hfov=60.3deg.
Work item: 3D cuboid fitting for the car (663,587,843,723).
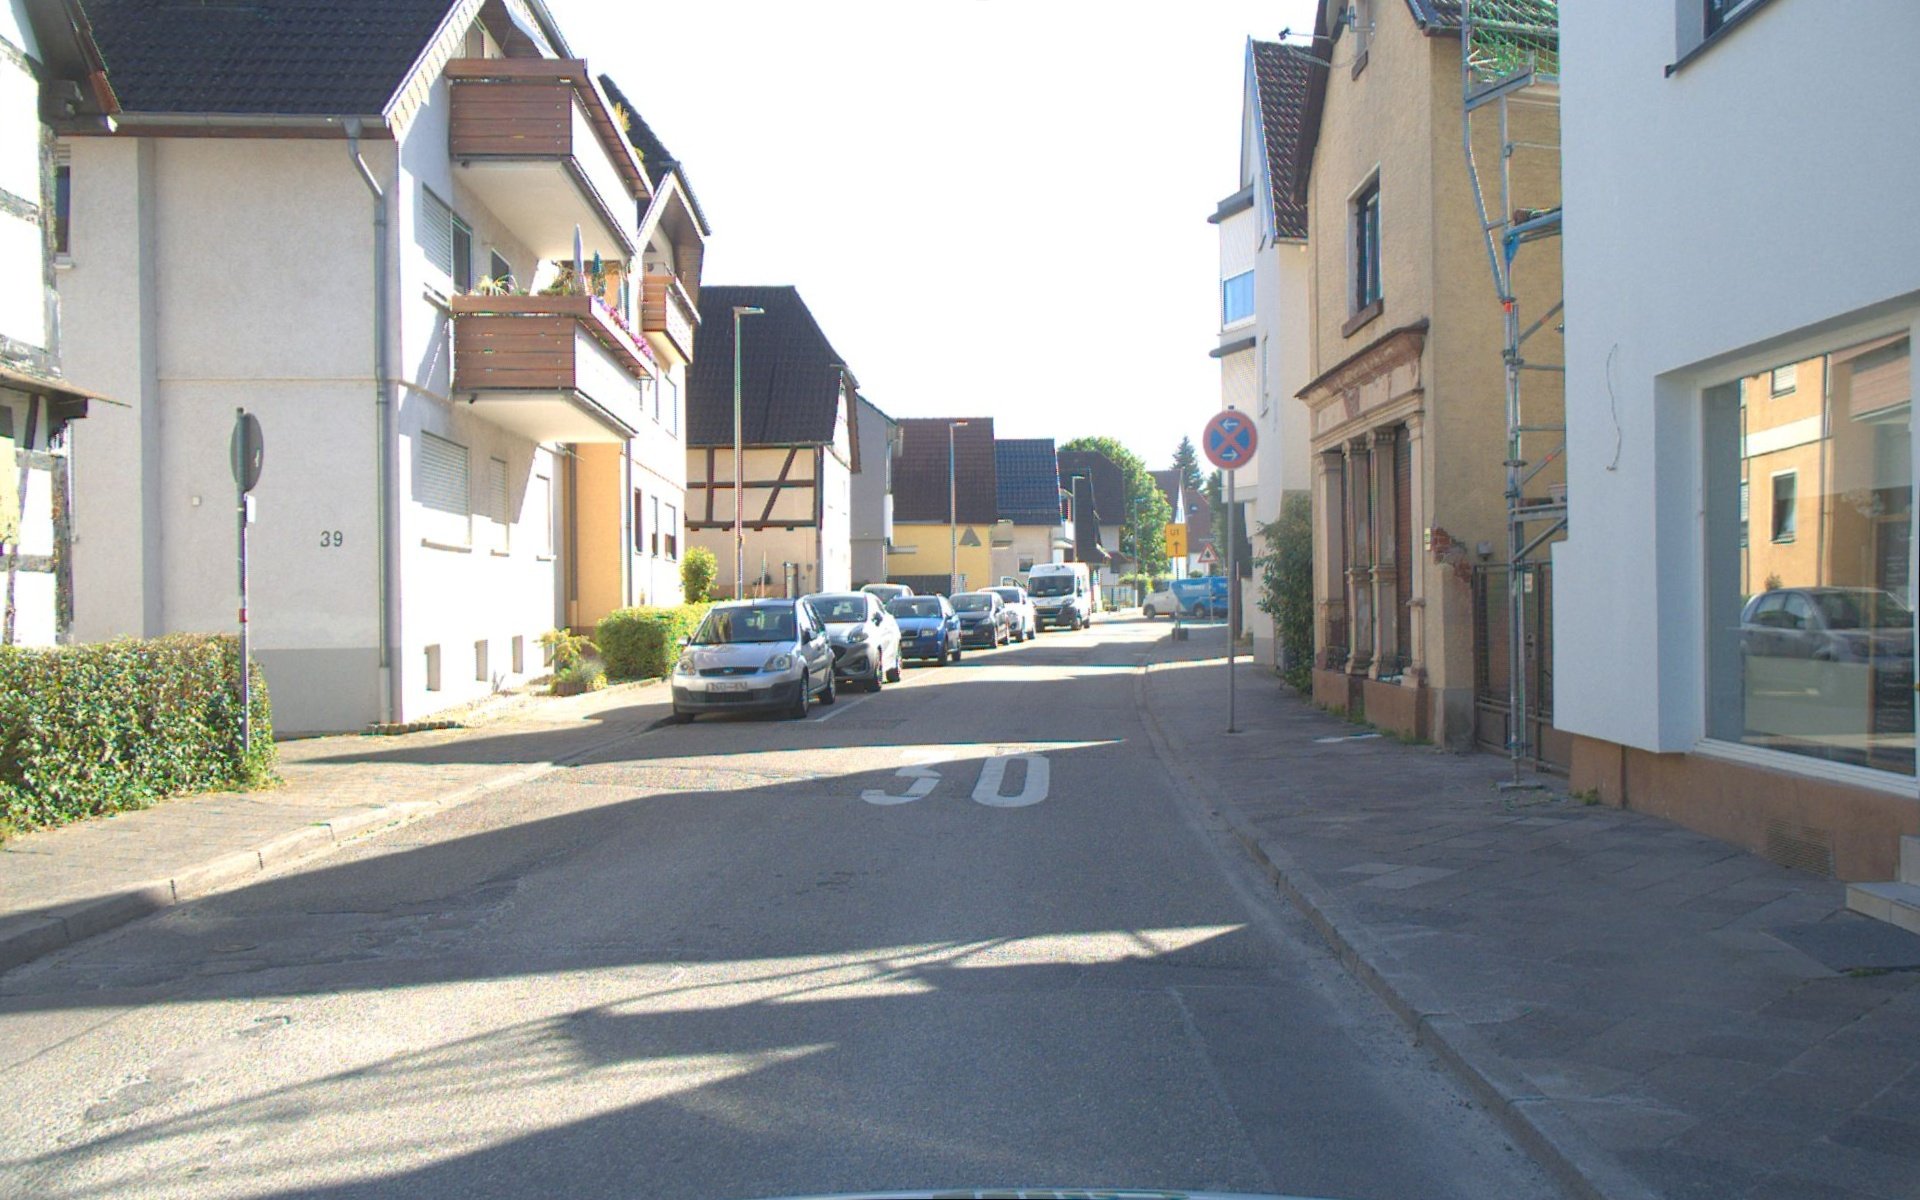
[{"bbox_3d":[-2.588,0.636,21.501,1.597,1.532,3.855,-2,1,3],"label":"car"}]

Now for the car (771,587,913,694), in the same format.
[{"bbox_3d":[-1.829,0.588,26.805,1.638,1.532,4.097,-2,0,5],"label":"car"}]

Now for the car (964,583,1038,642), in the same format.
[{"bbox_3d":[1.264,0.339,49.422,1.638,1.599,3.969,-3,0,9],"label":"car"}]

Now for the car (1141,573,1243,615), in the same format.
[{"bbox_3d":[10.964,-0.271,78.472,1.908,1.833,4.712,-3,1,-39],"label":"car"}]

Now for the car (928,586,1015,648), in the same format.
[{"bbox_3d":[0.369,0.427,45.119,1.667,1.545,4.125,-3,0,9],"label":"car"}]

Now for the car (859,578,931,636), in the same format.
[{"bbox_3d":[-1.899,0.179,49.512,1.685,1.624,4.019,1,1,4],"label":"car"}]

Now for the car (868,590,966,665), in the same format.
[{"bbox_3d":[-0.861,0.553,35.527,1.604,1.466,4.077,-2,0,5],"label":"car"}]

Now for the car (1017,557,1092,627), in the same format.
[{"bbox_3d":[3.600,-0.317,62.094,2.032,2.436,5.213,-3,0,11],"label":"car"}]
